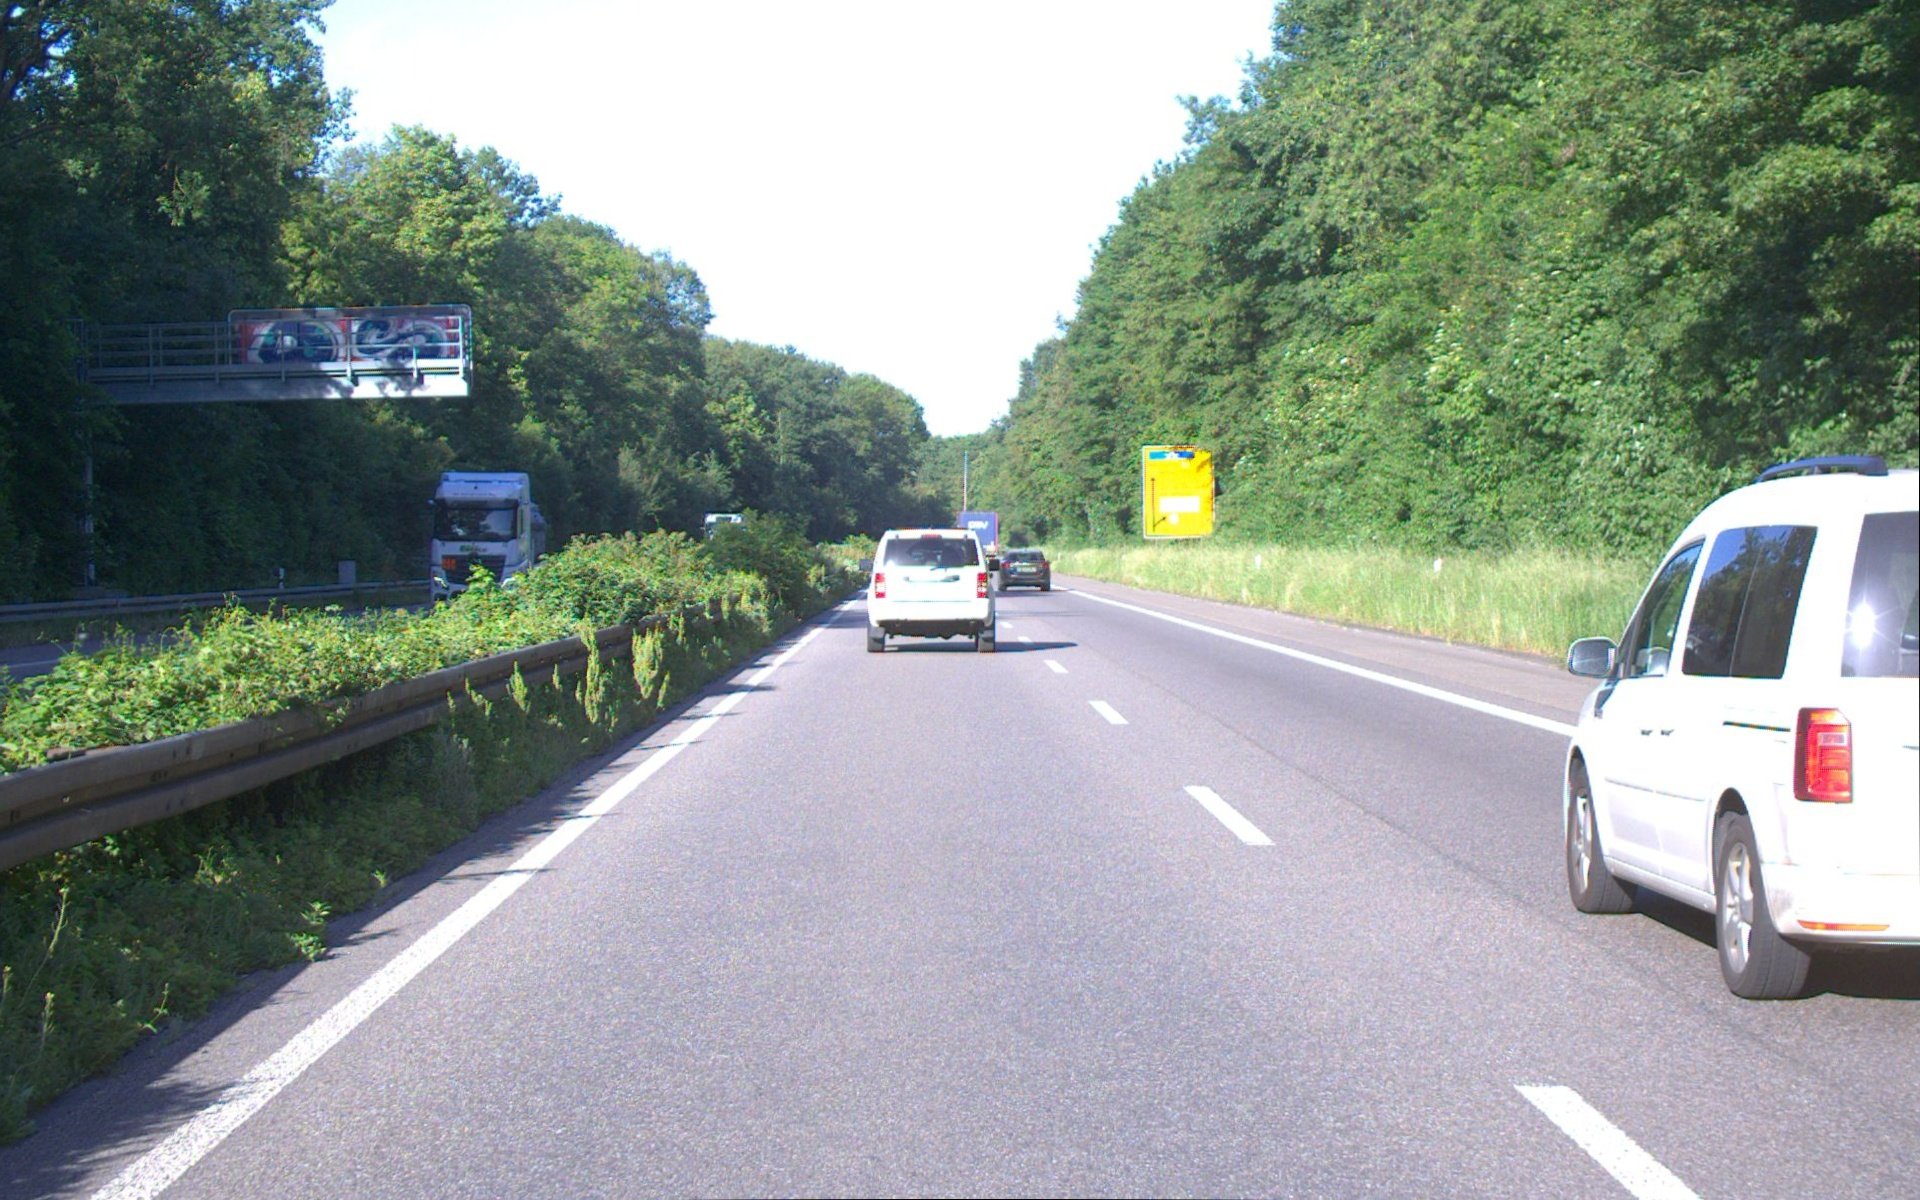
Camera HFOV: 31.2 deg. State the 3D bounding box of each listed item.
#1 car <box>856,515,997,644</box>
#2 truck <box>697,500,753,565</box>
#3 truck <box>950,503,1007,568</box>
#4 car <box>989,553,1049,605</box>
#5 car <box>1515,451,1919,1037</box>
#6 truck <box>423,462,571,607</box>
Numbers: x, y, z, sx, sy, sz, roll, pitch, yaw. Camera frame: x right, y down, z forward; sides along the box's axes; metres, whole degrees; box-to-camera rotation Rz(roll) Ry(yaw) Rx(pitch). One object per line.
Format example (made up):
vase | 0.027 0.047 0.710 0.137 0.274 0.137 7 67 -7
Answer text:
car | -0.503 -0.306 50.262 1.951 1.776 4.588 1 0 -1
truck | -14.794 -4.243 216.747 3.228 3.999 5.677 1 1 -1
truck | 1.209 -4.330 234.023 3.734 4.328 9.305 1 0 0
car | 2.076 -0.760 122.624 1.951 1.776 4.588 1 0 -1
car | 3.406 0.431 12.936 1.799 1.807 4.588 1 0 -1
truck | -13.322 -1.838 99.855 2.769 3.942 11.467 1 0 0
